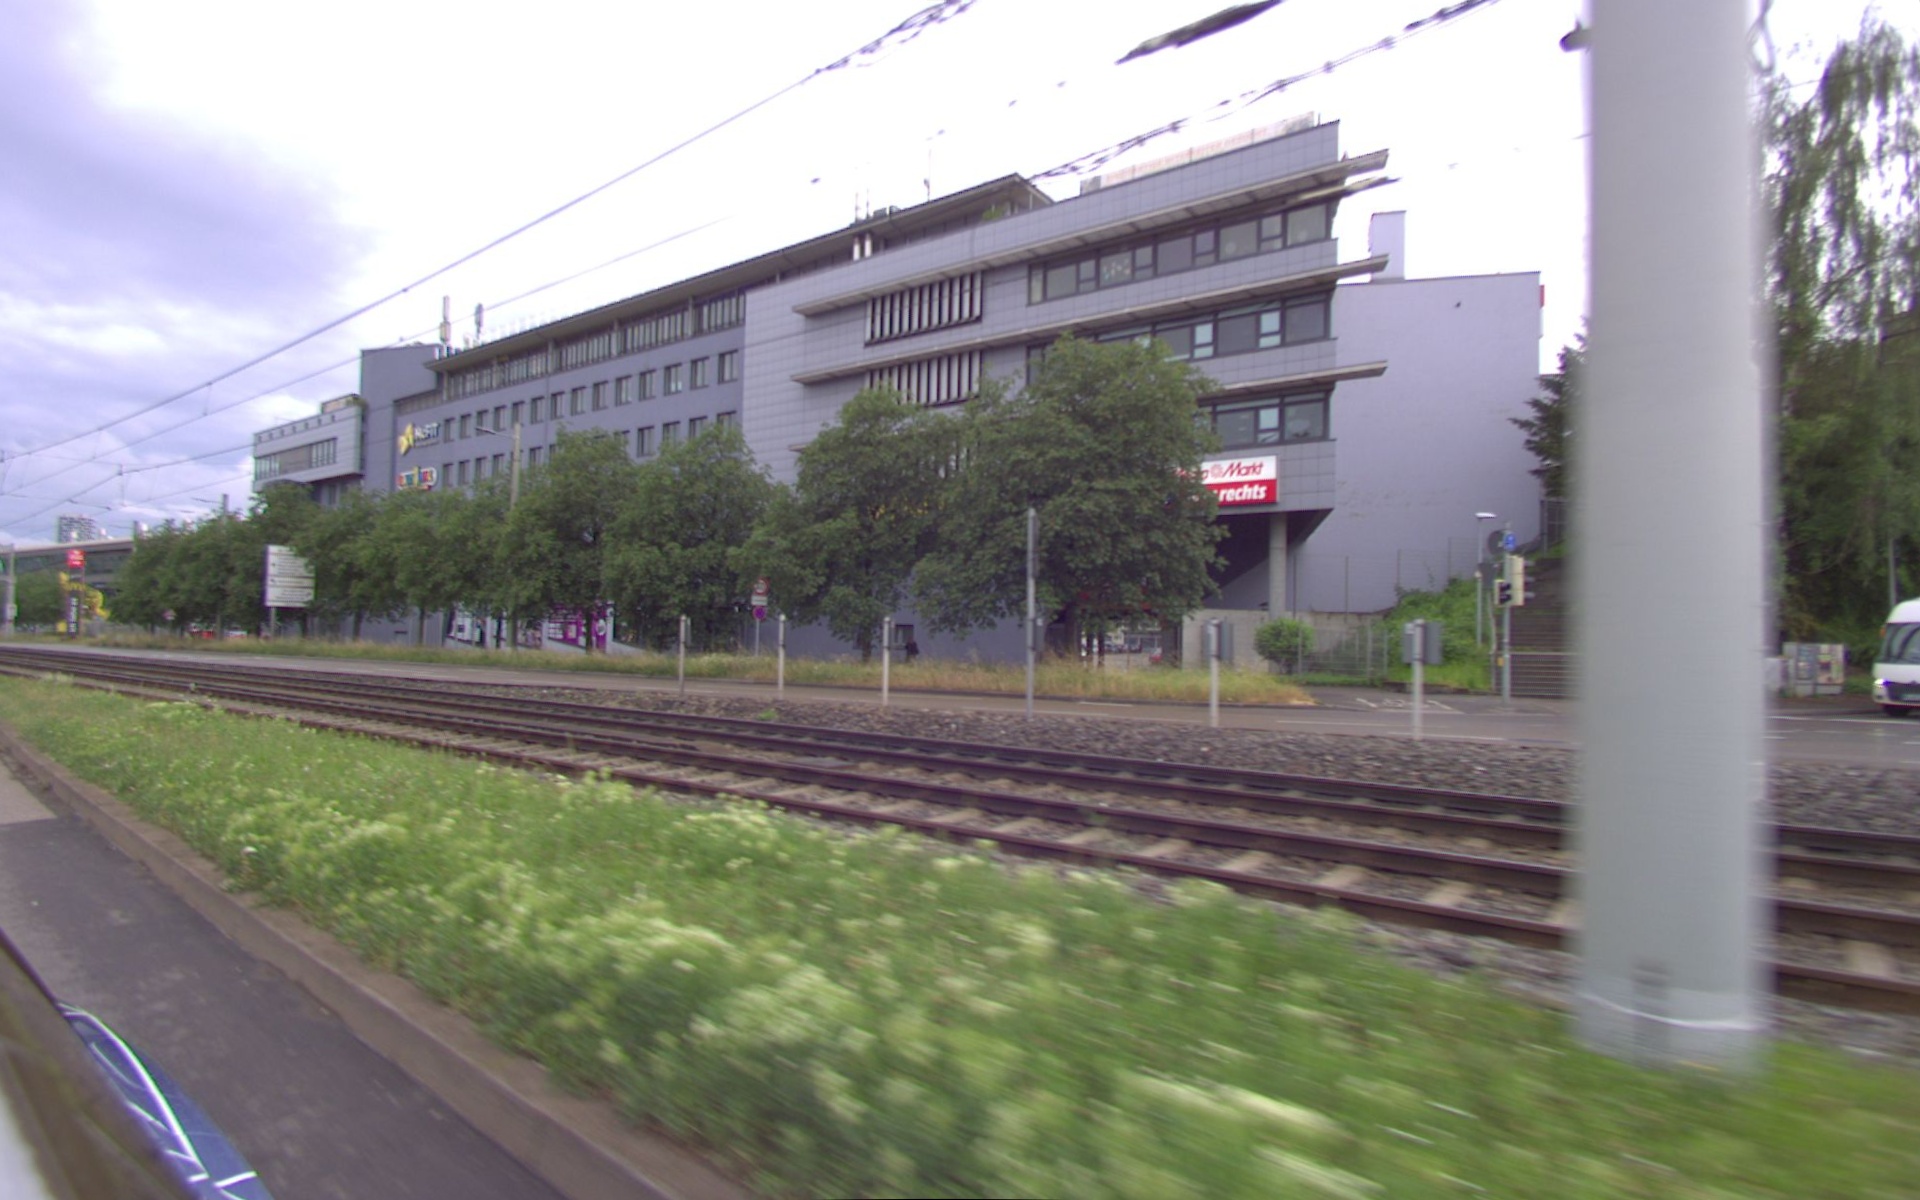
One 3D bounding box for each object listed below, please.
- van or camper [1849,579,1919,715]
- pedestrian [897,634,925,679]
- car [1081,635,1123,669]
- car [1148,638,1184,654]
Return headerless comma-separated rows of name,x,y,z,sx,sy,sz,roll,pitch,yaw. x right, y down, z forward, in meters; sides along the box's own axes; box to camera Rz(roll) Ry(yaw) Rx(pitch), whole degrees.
van or camper,24.458,1.064,23.271,7.249,2.990,2.498,1,-2,-17
pedestrian,-1.970,2.252,40.743,0.877,1.768,0.717,-1,0,41
car,7.683,2.766,54.509,1.616,1.741,3.976,-1,-1,18
car,23.941,5.310,117.821,3.965,1.786,1.813,-1,0,17
